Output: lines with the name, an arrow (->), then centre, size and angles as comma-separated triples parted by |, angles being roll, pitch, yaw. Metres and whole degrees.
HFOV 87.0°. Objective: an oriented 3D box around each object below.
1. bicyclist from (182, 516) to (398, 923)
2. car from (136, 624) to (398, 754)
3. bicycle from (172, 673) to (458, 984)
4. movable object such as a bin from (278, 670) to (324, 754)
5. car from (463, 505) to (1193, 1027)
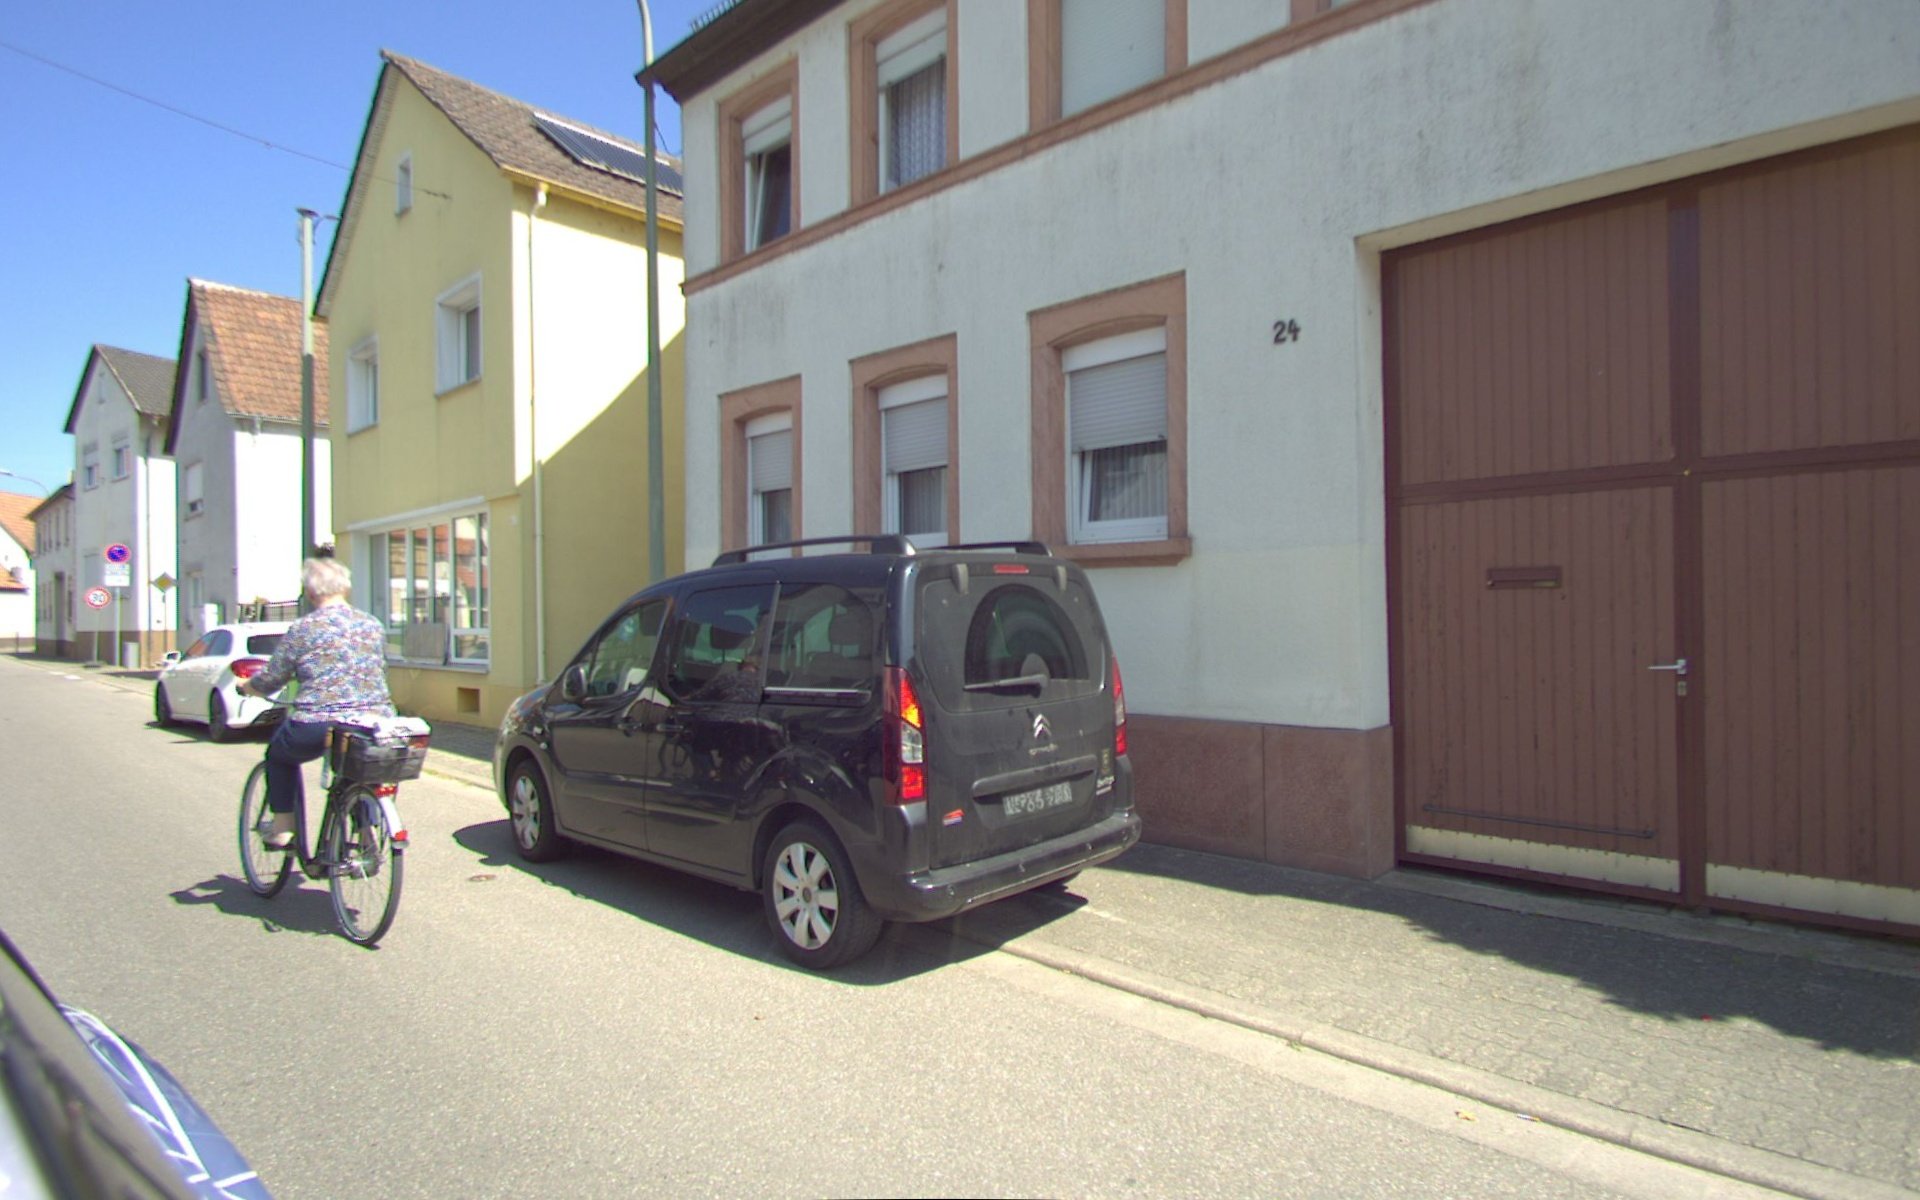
bicyclist -> -3.245, 0.524, 4.910 | 0.624, 1.784, 0.697 | -2, 0, 39
car -> -9.395, 1.072, 13.592 | 4.267, 1.475, 1.816 | -2, -2, 40
bicycle -> -3.148, 0.960, 4.856 | 1.947, 1.157, 0.583 | -2, -3, 40
movable object such as a bin -> -7.677, 1.296, 11.801 | 0.419, 0.911, 0.497 | 0, -1, -29
car -> -1.067, 0.634, 5.776 | 4.354, 1.851, 1.814 | -2, -1, 44
